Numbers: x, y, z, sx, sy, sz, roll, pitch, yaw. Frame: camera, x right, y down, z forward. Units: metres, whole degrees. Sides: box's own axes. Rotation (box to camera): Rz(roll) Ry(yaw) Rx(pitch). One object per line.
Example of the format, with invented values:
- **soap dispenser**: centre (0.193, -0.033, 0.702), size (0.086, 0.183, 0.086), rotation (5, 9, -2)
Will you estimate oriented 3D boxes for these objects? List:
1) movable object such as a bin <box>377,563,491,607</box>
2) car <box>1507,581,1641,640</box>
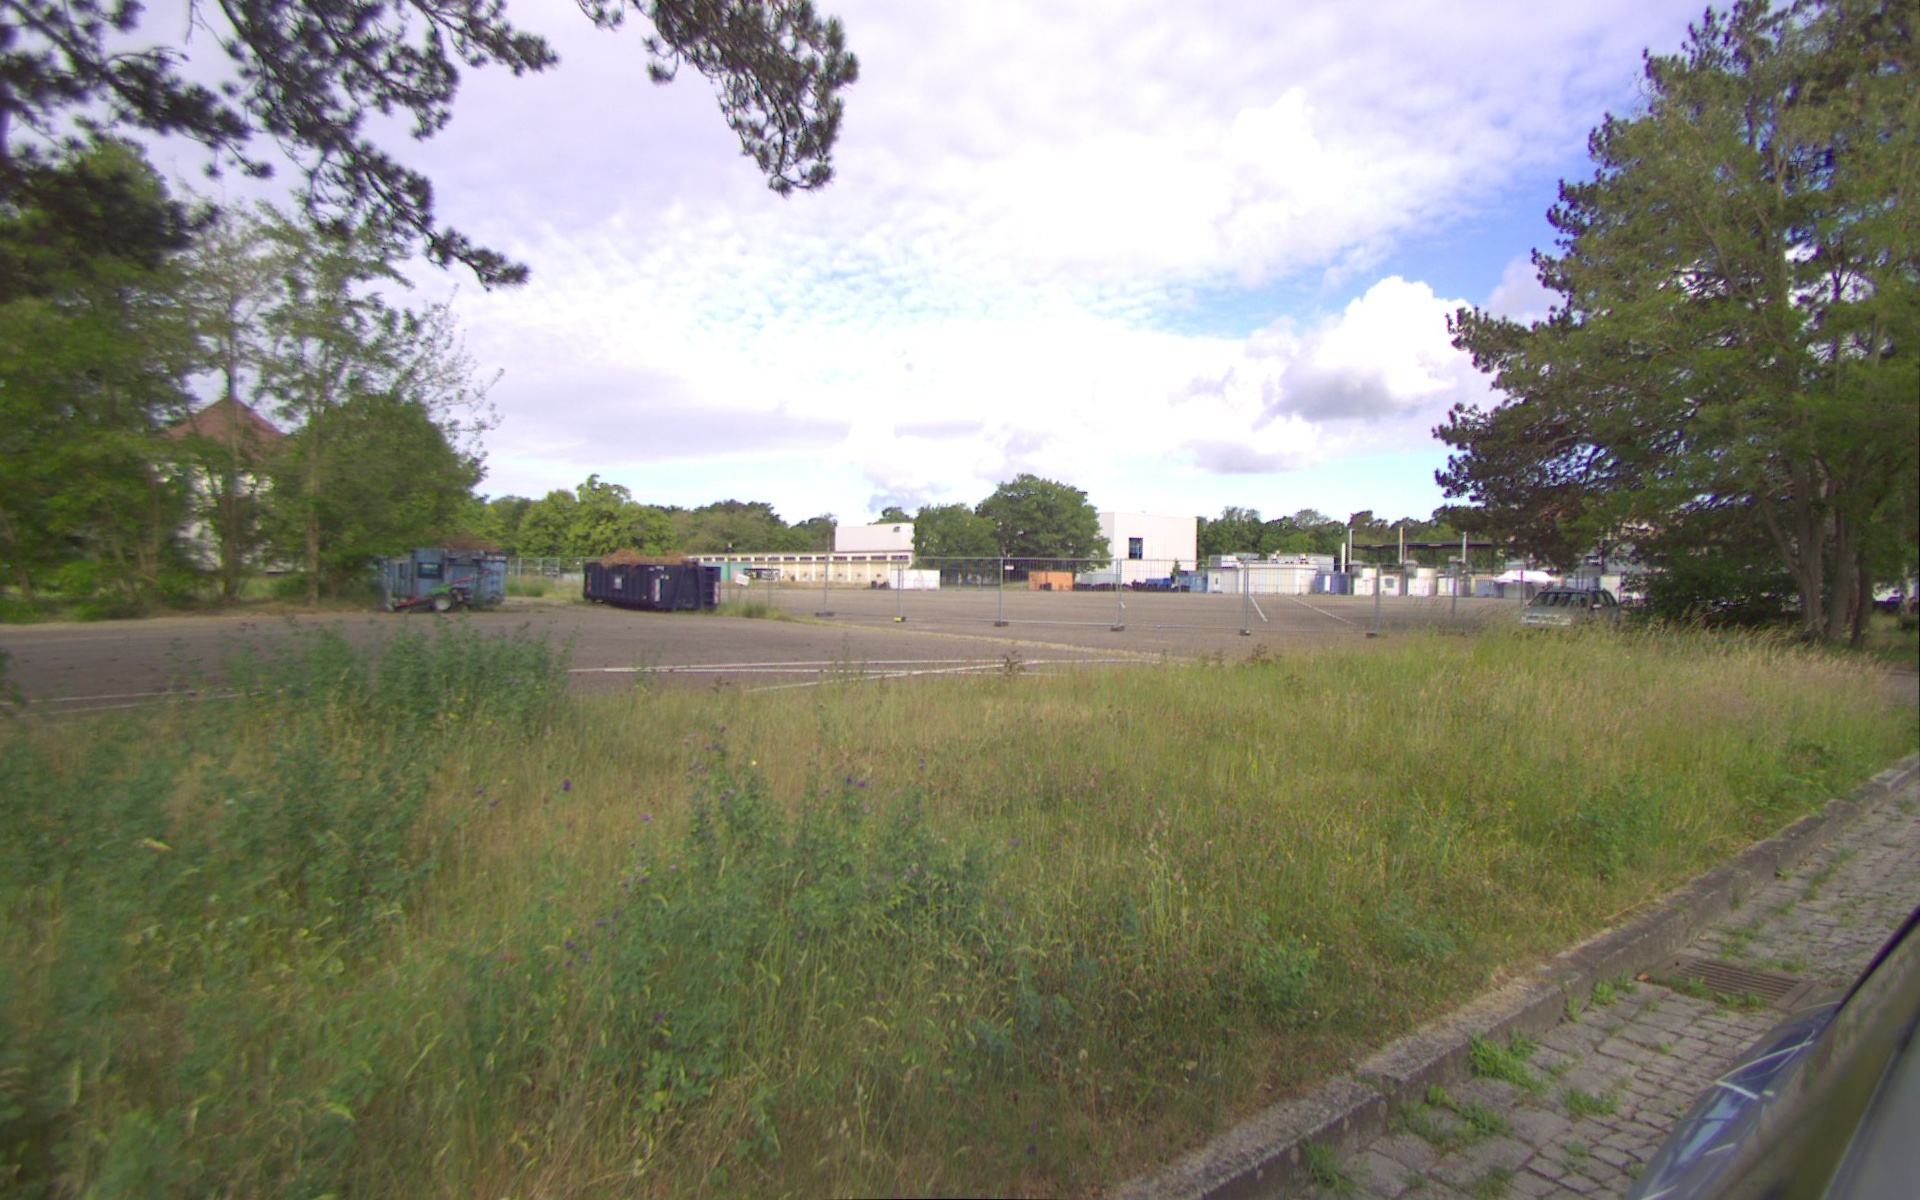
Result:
- **movable object such as a bin**: centre (-13.960, -0.385, 26.910), size (2.498, 1.097, 1.064), rotation (1, 1, -41)
- **car**: centre (16.822, 0.237, 27.661), size (4.248, 1.466, 1.760), rotation (0, 2, -39)
